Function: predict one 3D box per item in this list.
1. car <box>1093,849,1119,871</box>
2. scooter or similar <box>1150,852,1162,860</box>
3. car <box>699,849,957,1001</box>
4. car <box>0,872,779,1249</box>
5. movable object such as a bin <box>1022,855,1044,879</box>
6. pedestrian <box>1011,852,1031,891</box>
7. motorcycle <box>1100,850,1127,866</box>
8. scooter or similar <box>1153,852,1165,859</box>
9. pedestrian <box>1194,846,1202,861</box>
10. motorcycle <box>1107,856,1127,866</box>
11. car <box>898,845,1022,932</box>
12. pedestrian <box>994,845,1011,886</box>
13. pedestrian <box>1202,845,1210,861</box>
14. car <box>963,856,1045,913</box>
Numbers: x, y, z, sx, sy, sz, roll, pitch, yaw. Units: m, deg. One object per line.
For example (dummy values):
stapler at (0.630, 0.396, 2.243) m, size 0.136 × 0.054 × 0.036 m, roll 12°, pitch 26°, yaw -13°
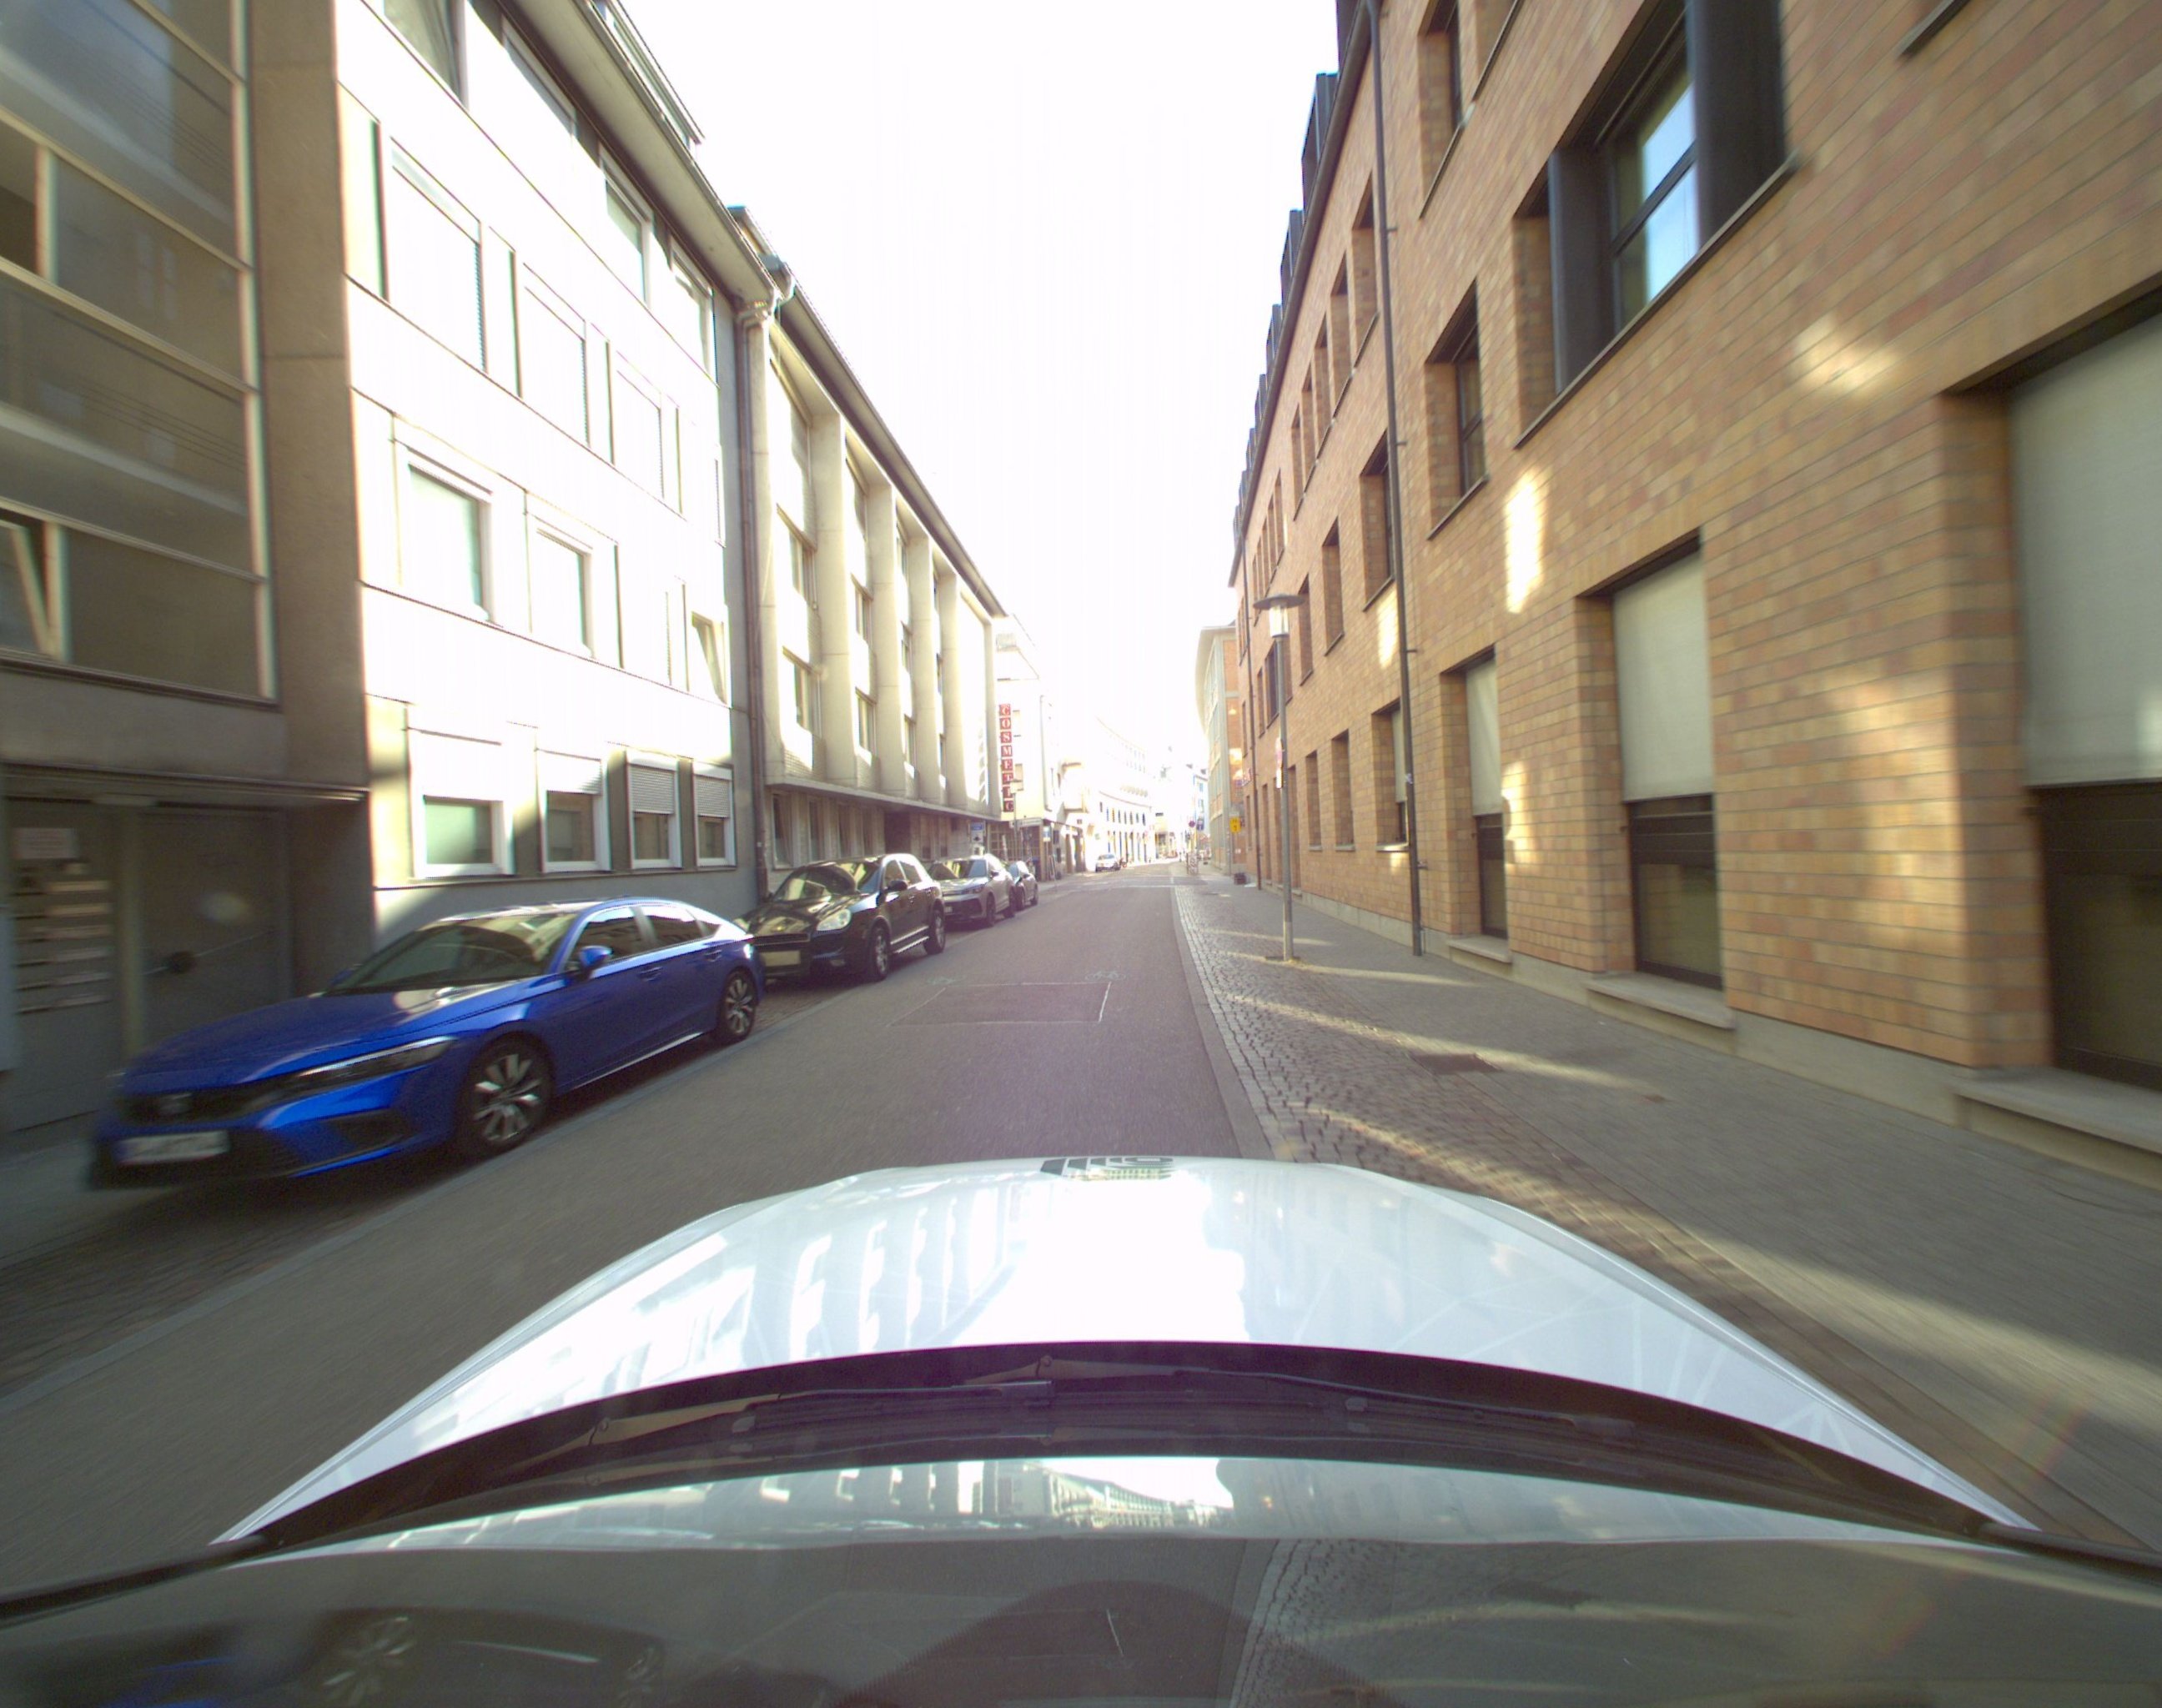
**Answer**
car at (2.034, 0.450, 64.909) m, size 1.727 × 1.606 × 3.539 m, roll -2°, pitch 0°, yaw 6°
scooter or similar at (9.882, 0.281, 107.479) m, size 0.520 × 0.928 × 2.242 m, roll -2°, pitch 0°, yaw 36°
car at (-3.365, 0.840, 11.934) m, size 1.881 × 1.675 × 4.561 m, roll -3°, pitch 0°, yaw 6°
car at (-4.131, 1.019, 5.944) m, size 1.881 × 1.530 × 4.345 m, roll -3°, pitch 0°, yaw 4°
movable object such as a bin at (-2.818, 0.777, 48.160) m, size 0.939 × 1.420 × 0.874 m, roll 0°, pitch -1°, yaw -41°
pedestrian at (-2.595, 0.751, 34.996) m, size 0.650 × 1.625 × 0.452 m, roll -3°, pitch 0°, yaw -36°
motorcycle at (3.043, 0.385, 76.188) m, size 2.379 × 1.317 × 0.863 m, roll -4°, pitch 0°, yaw 5°
scooter or similar at (10.596, 0.231, 110.666) m, size 0.520 × 0.928 × 2.242 m, roll -2°, pitch 0°, yaw 36°
pedestrian at (13.975, -0.068, 97.275) m, size 0.662 × 1.869 × 0.780 m, roll -1°, pitch -1°, yaw -24°
motorcycle at (3.215, 0.611, 72.279) m, size 1.680 × 0.859 × 0.596 m, roll -1°, pitch -1°, yaw 10°
car at (-2.741, 0.725, 19.519) m, size 1.881 × 1.742 × 4.396 m, roll -3°, pitch 0°, yaw 5°
pedestrian at (-3.429, 0.497, 35.678) m, size 0.443 × 1.738 × 0.556 m, roll -3°, pitch 0°, yaw 29°
pedestrian at (14.119, -0.100, 92.010) m, size 0.662 × 1.869 × 0.755 m, roll -1°, pitch -1°, yaw -24°
car at (-2.283, 0.870, 25.225) m, size 1.640 × 1.460 × 4.006 m, roll -5°, pitch 0°, yaw 6°
